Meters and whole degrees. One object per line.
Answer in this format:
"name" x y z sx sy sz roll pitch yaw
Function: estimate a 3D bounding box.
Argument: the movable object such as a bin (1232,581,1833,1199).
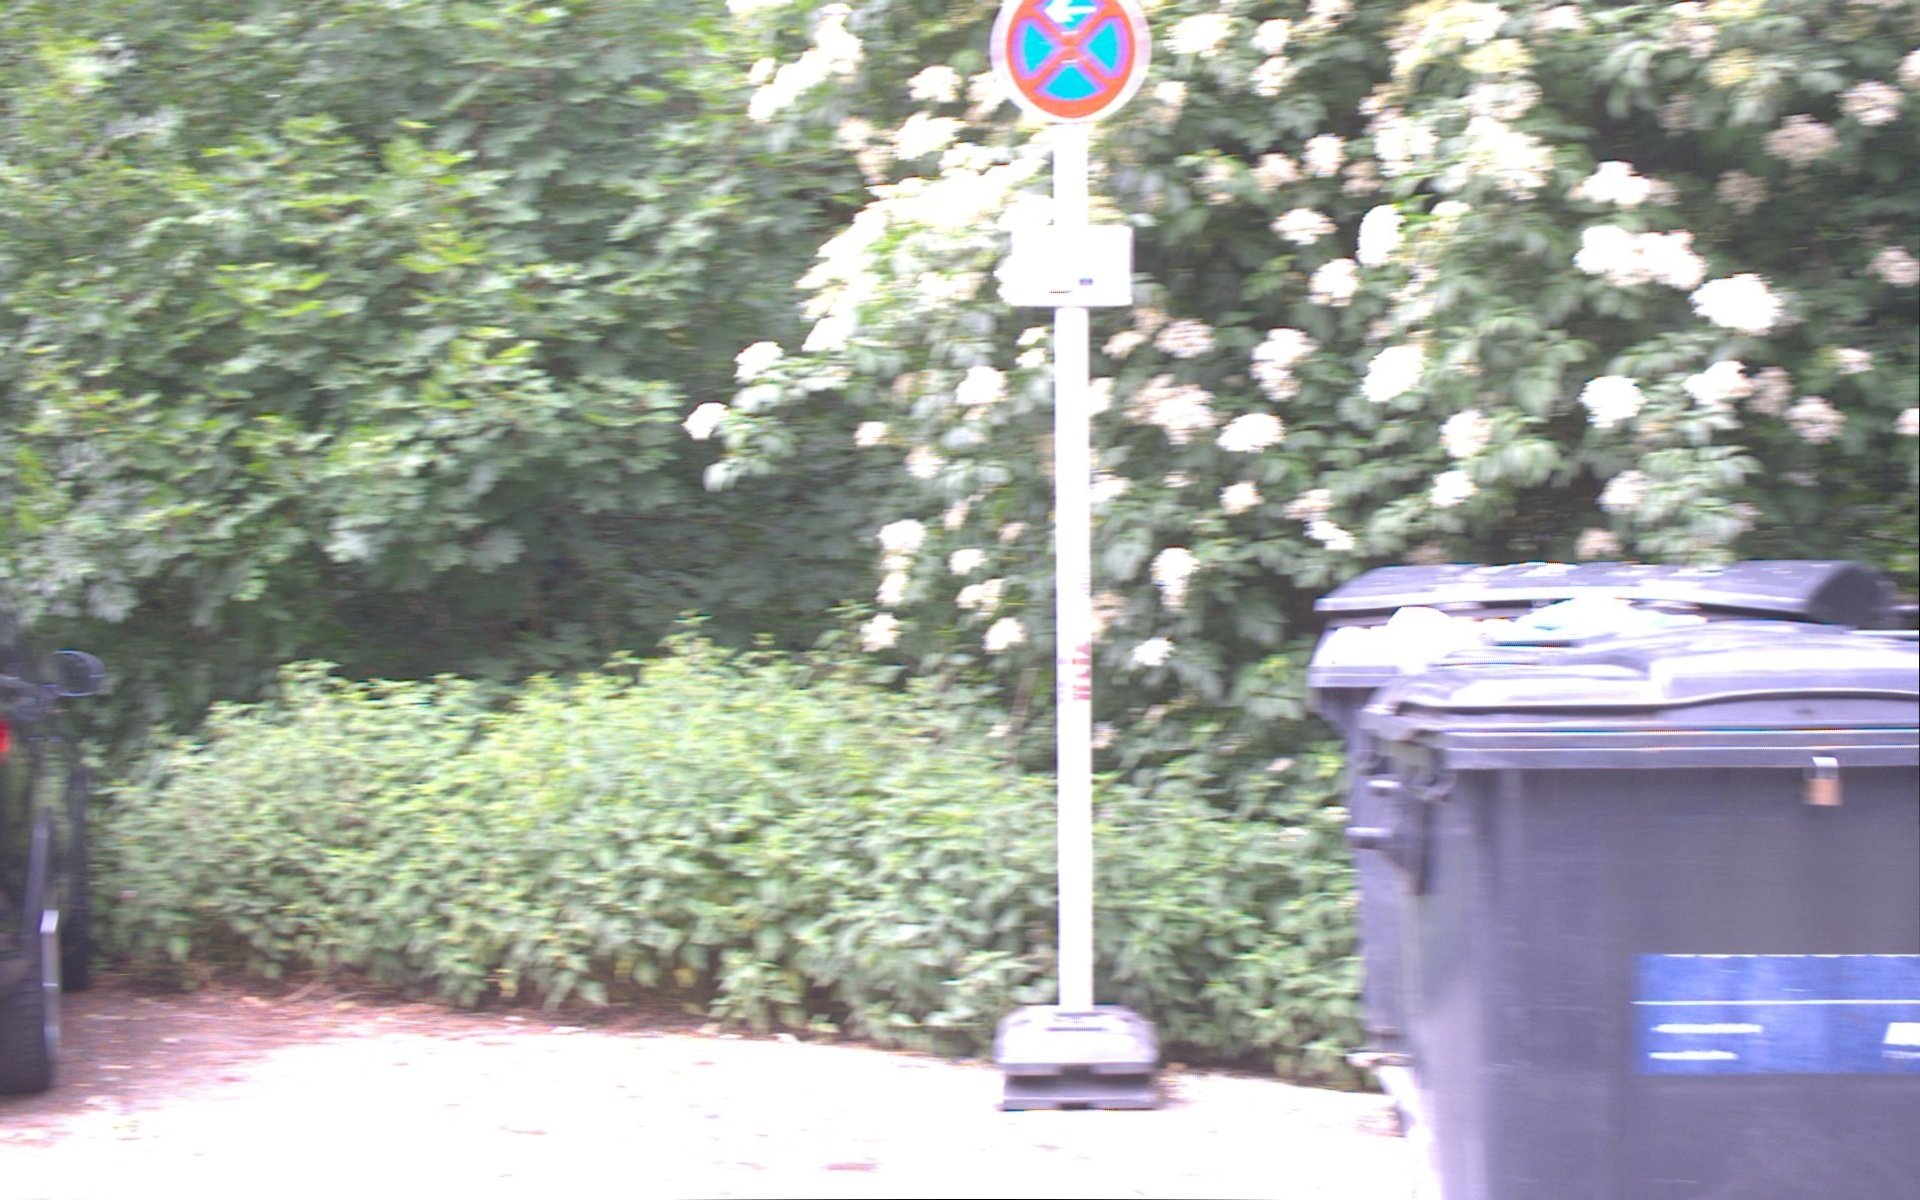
"movable object such as a bin" 1.457 0.664 8.672 1.129 1.420 1.125 0 0 34

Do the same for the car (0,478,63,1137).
"car" -3.733 0.511 10.556 1.778 1.679 4.073 0 1 -13

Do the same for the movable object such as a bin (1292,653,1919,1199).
"movable object such as a bin" 1.265 0.755 5.829 1.309 1.303 1.172 0 0 1

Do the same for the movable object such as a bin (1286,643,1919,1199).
"movable object such as a bin" 1.302 0.755 7.027 1.181 1.310 1.127 0 0 1
